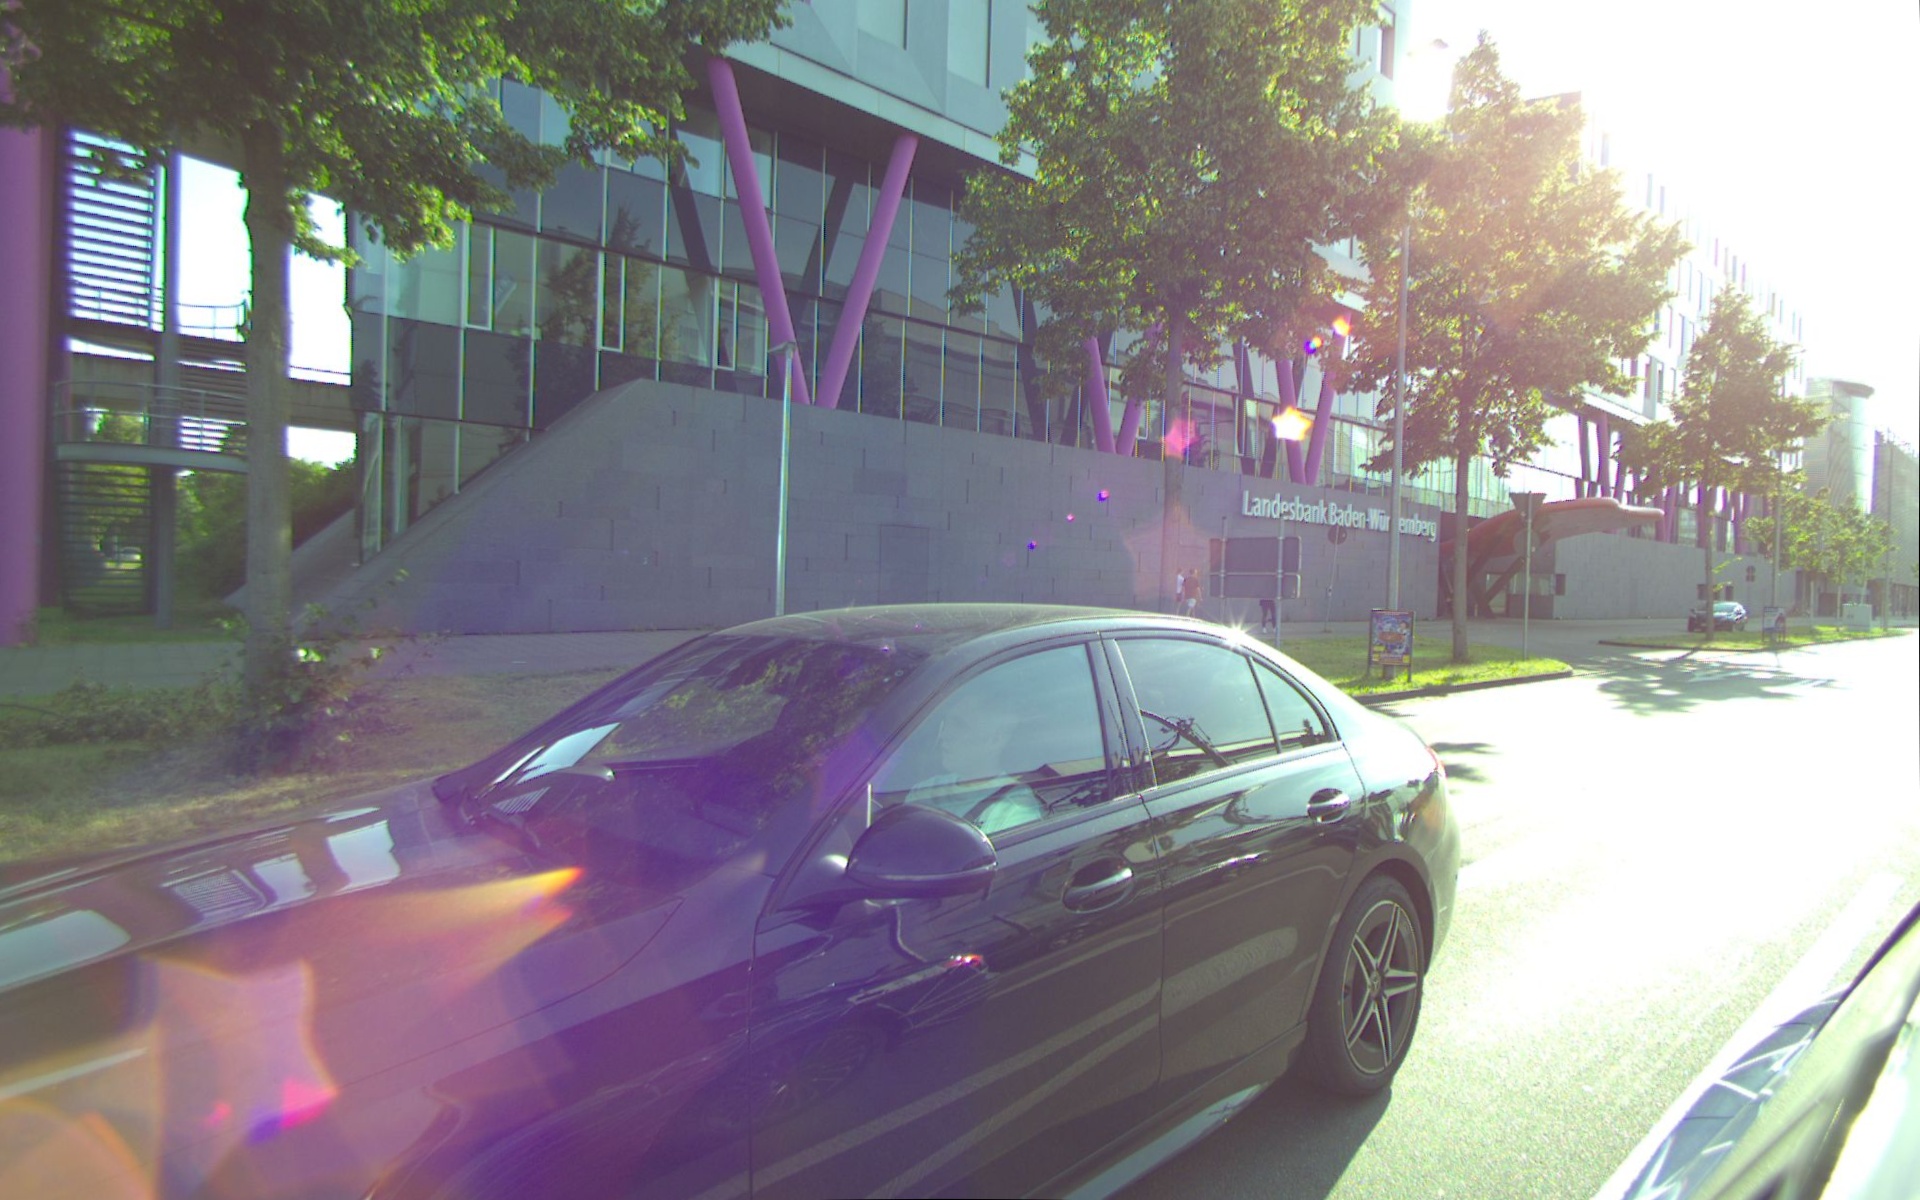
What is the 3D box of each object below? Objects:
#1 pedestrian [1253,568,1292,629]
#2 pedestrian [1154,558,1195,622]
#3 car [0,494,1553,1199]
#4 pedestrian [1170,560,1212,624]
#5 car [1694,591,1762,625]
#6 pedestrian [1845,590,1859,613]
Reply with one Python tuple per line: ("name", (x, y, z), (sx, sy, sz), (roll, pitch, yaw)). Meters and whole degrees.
("pedestrian", (8.896, -0.048, 28.844), (0.724, 1.658, 0.695), (0, 5, -41))
("pedestrian", (6.341, -0.297, 29.907), (0.838, 1.847, 0.769), (1, 3, -41))
("car", (-0.251, 0.634, 2.791), (4.474, 1.468, 1.843), (1, 0, -40))
("pedestrian", (6.730, -0.238, 29.460), (0.829, 1.815, 0.756), (1, 3, -41))
("car", (34.844, 0.380, 45.894), (4.126, 1.407, 1.694), (1, 1, -42))
("pedestrian", (72.090, 0.090, 81.783), (0.758, 1.808, 0.725), (0, 1, -41))
